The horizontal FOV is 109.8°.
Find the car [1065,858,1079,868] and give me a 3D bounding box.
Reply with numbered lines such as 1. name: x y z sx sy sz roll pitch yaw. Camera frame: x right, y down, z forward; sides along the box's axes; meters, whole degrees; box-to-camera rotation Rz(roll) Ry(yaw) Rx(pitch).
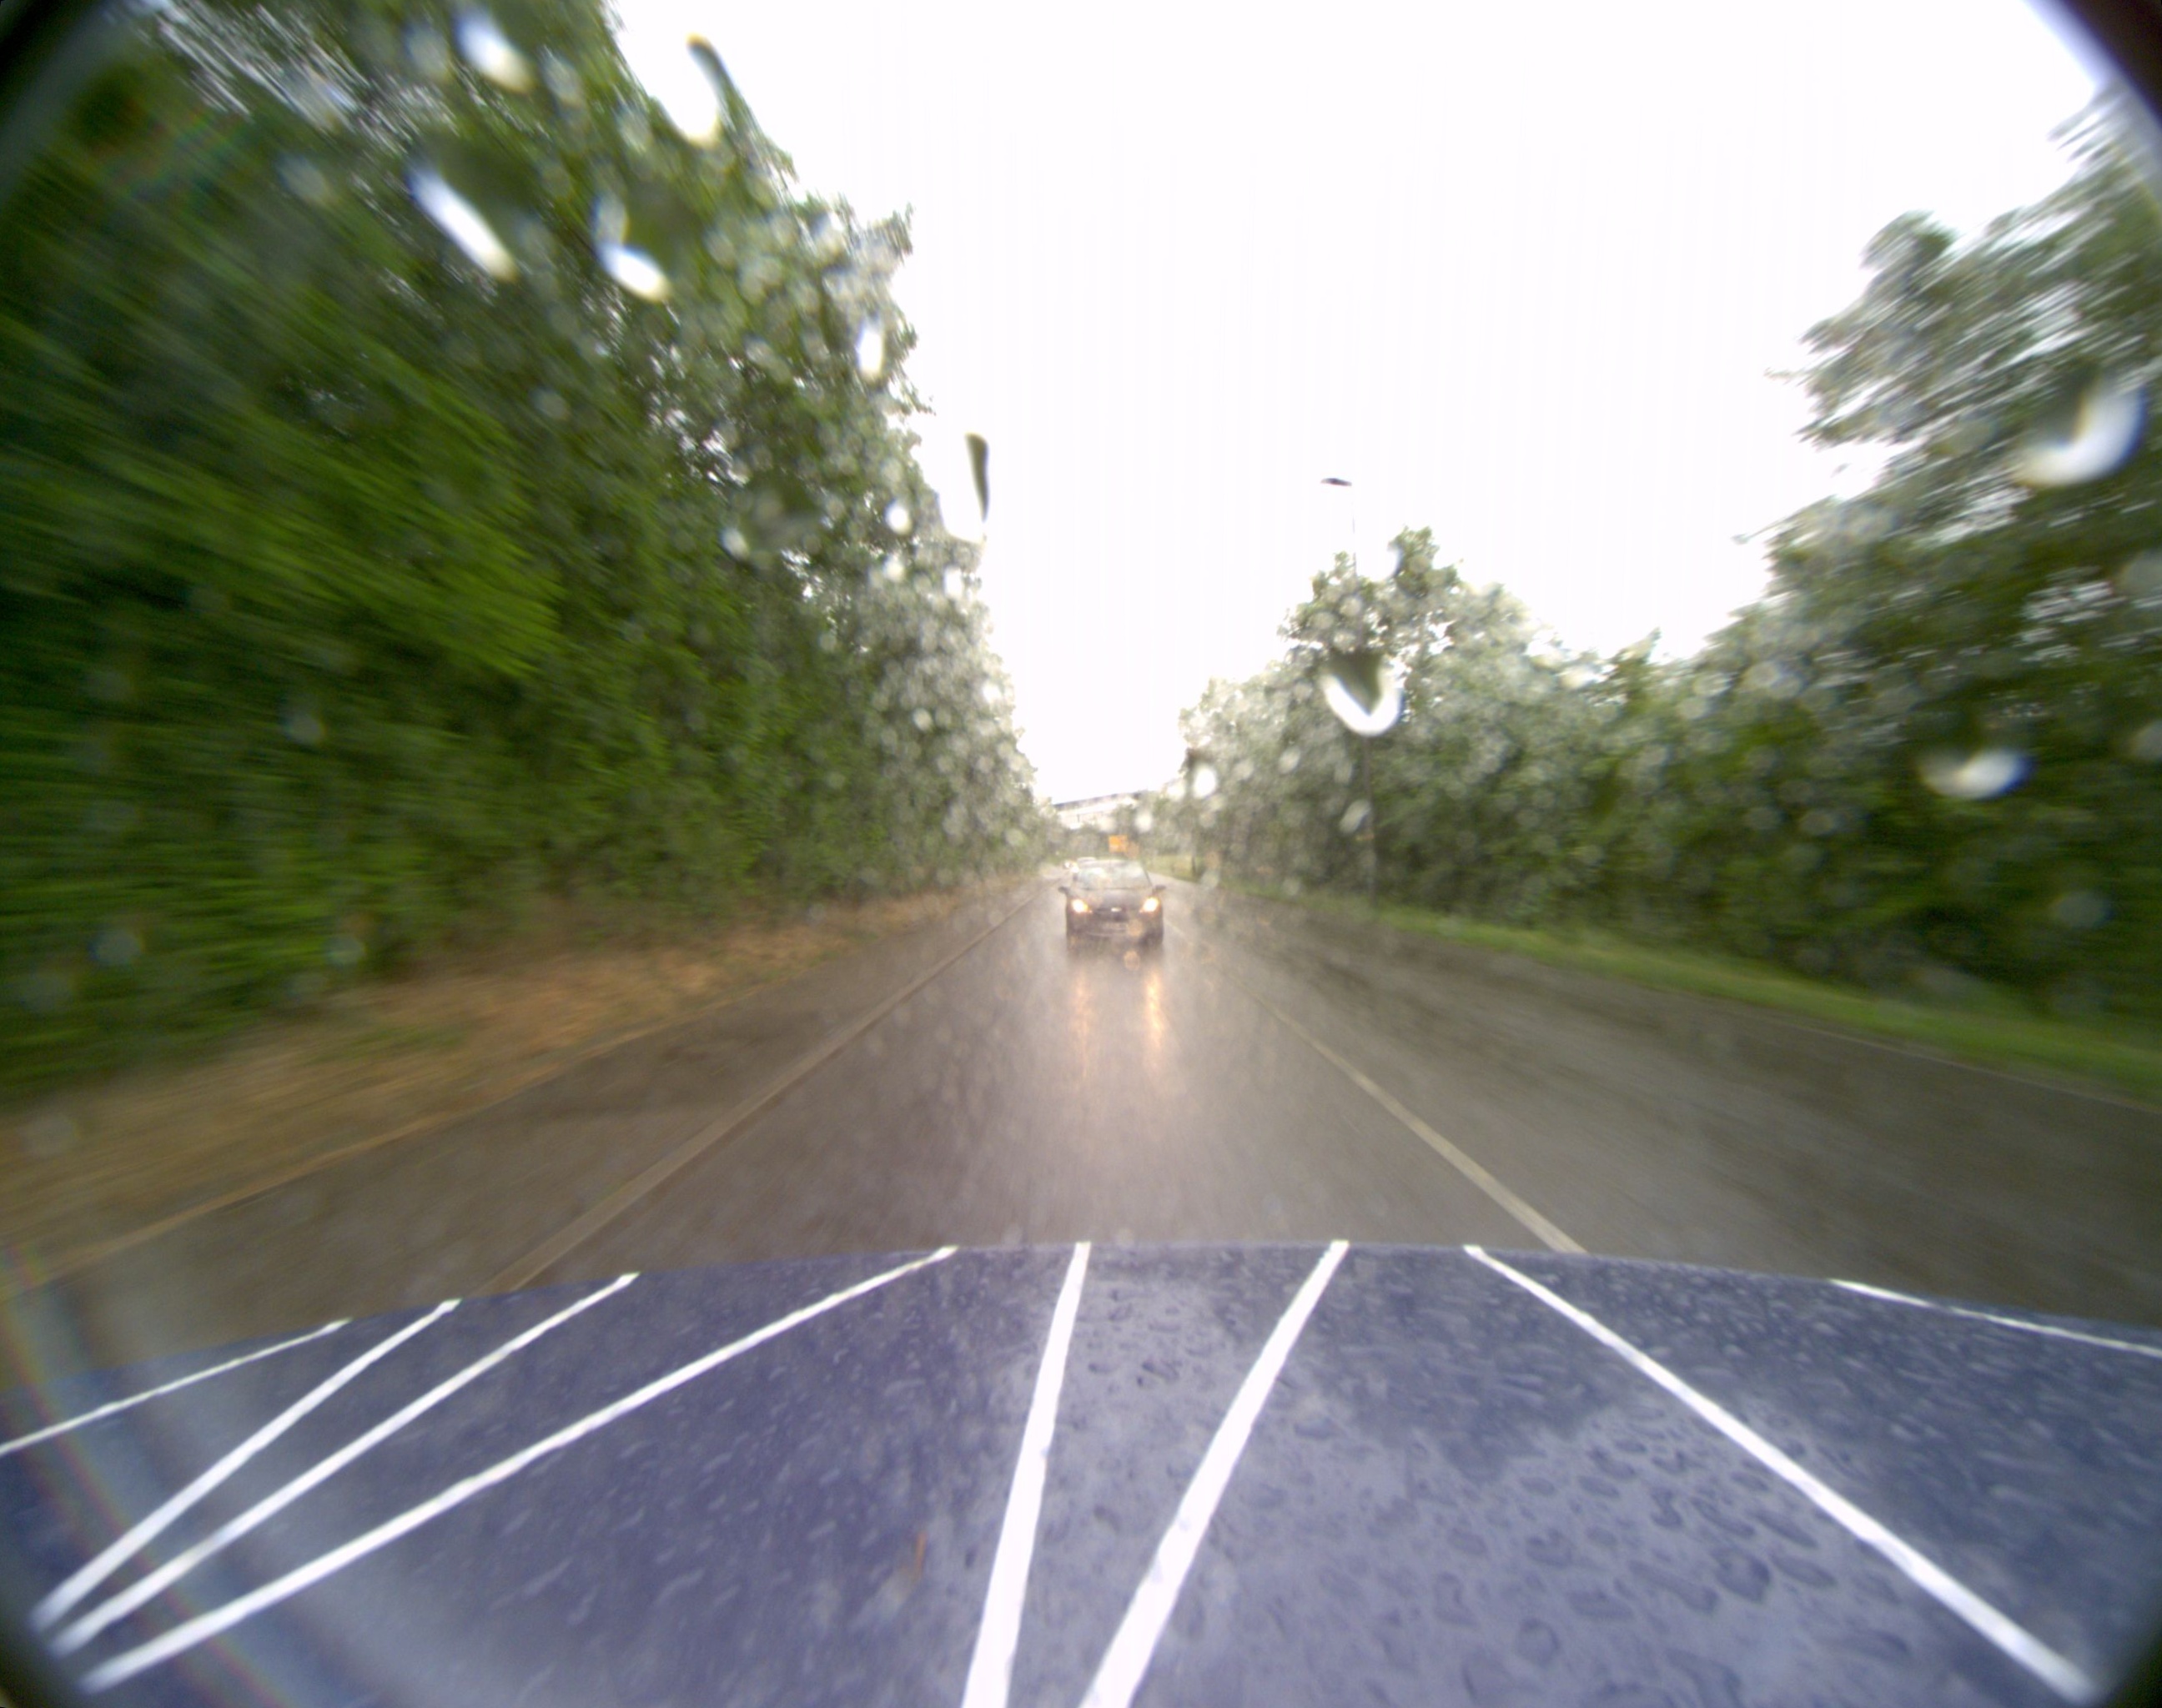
1. car: -1.379 1.424 119.726 1.954 1.433 4.376 -5 1 -3

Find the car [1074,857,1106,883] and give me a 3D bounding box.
1. car: 0.528 0.964 47.760 1.874 1.432 4.377 -3 0 -1

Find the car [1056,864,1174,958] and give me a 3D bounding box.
1. car: 0.514 0.958 14.550 1.874 1.432 4.377 -2 0 -1
